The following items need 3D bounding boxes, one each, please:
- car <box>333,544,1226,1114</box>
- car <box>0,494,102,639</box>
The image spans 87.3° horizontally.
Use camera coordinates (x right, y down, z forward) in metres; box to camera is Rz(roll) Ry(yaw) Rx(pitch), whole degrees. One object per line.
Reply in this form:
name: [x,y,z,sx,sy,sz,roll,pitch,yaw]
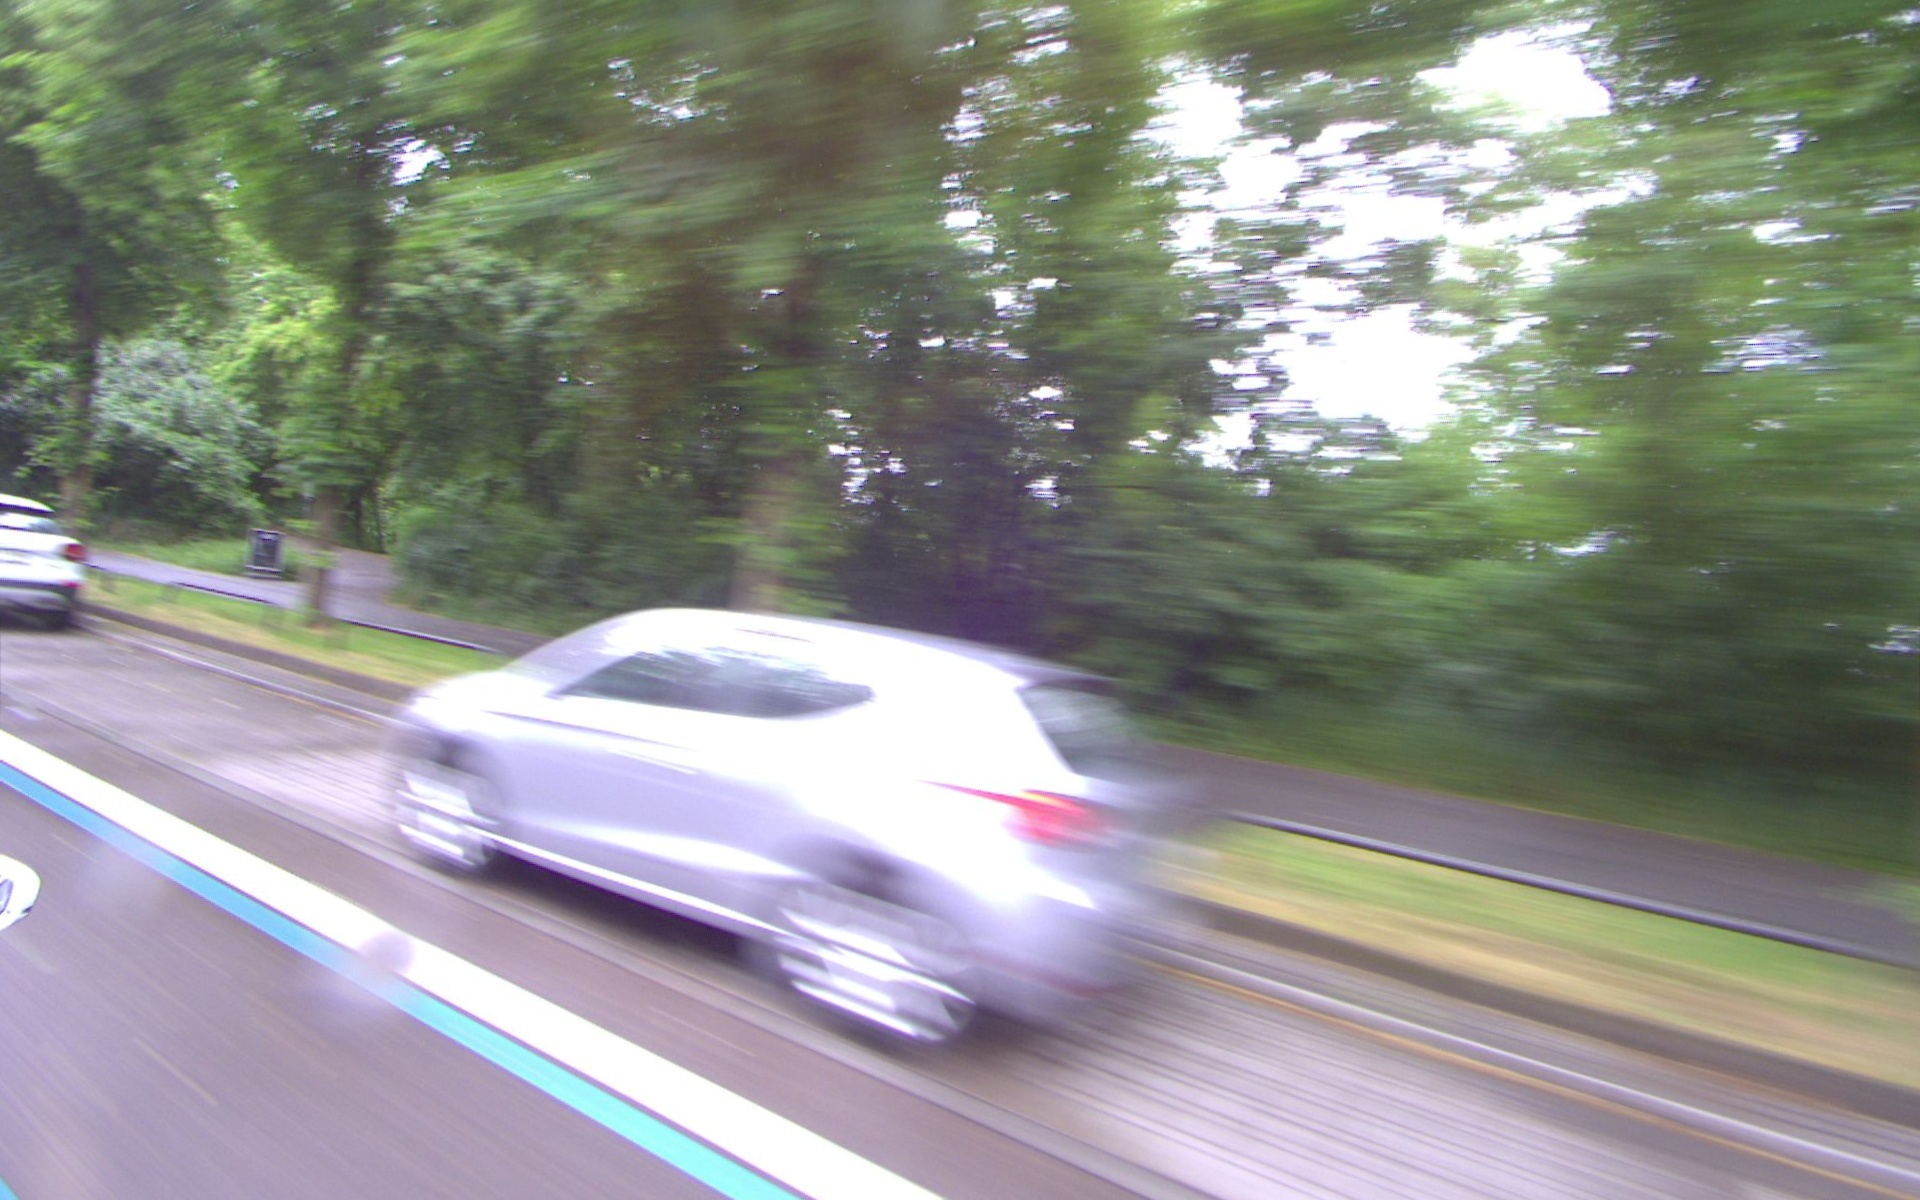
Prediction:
car: [-1.017,0.729,4.891,4.029,1.470,1.701,7,-1,31]
car: [-12.352,-0.616,12.147,4.395,1.531,1.701,7,-1,32]
